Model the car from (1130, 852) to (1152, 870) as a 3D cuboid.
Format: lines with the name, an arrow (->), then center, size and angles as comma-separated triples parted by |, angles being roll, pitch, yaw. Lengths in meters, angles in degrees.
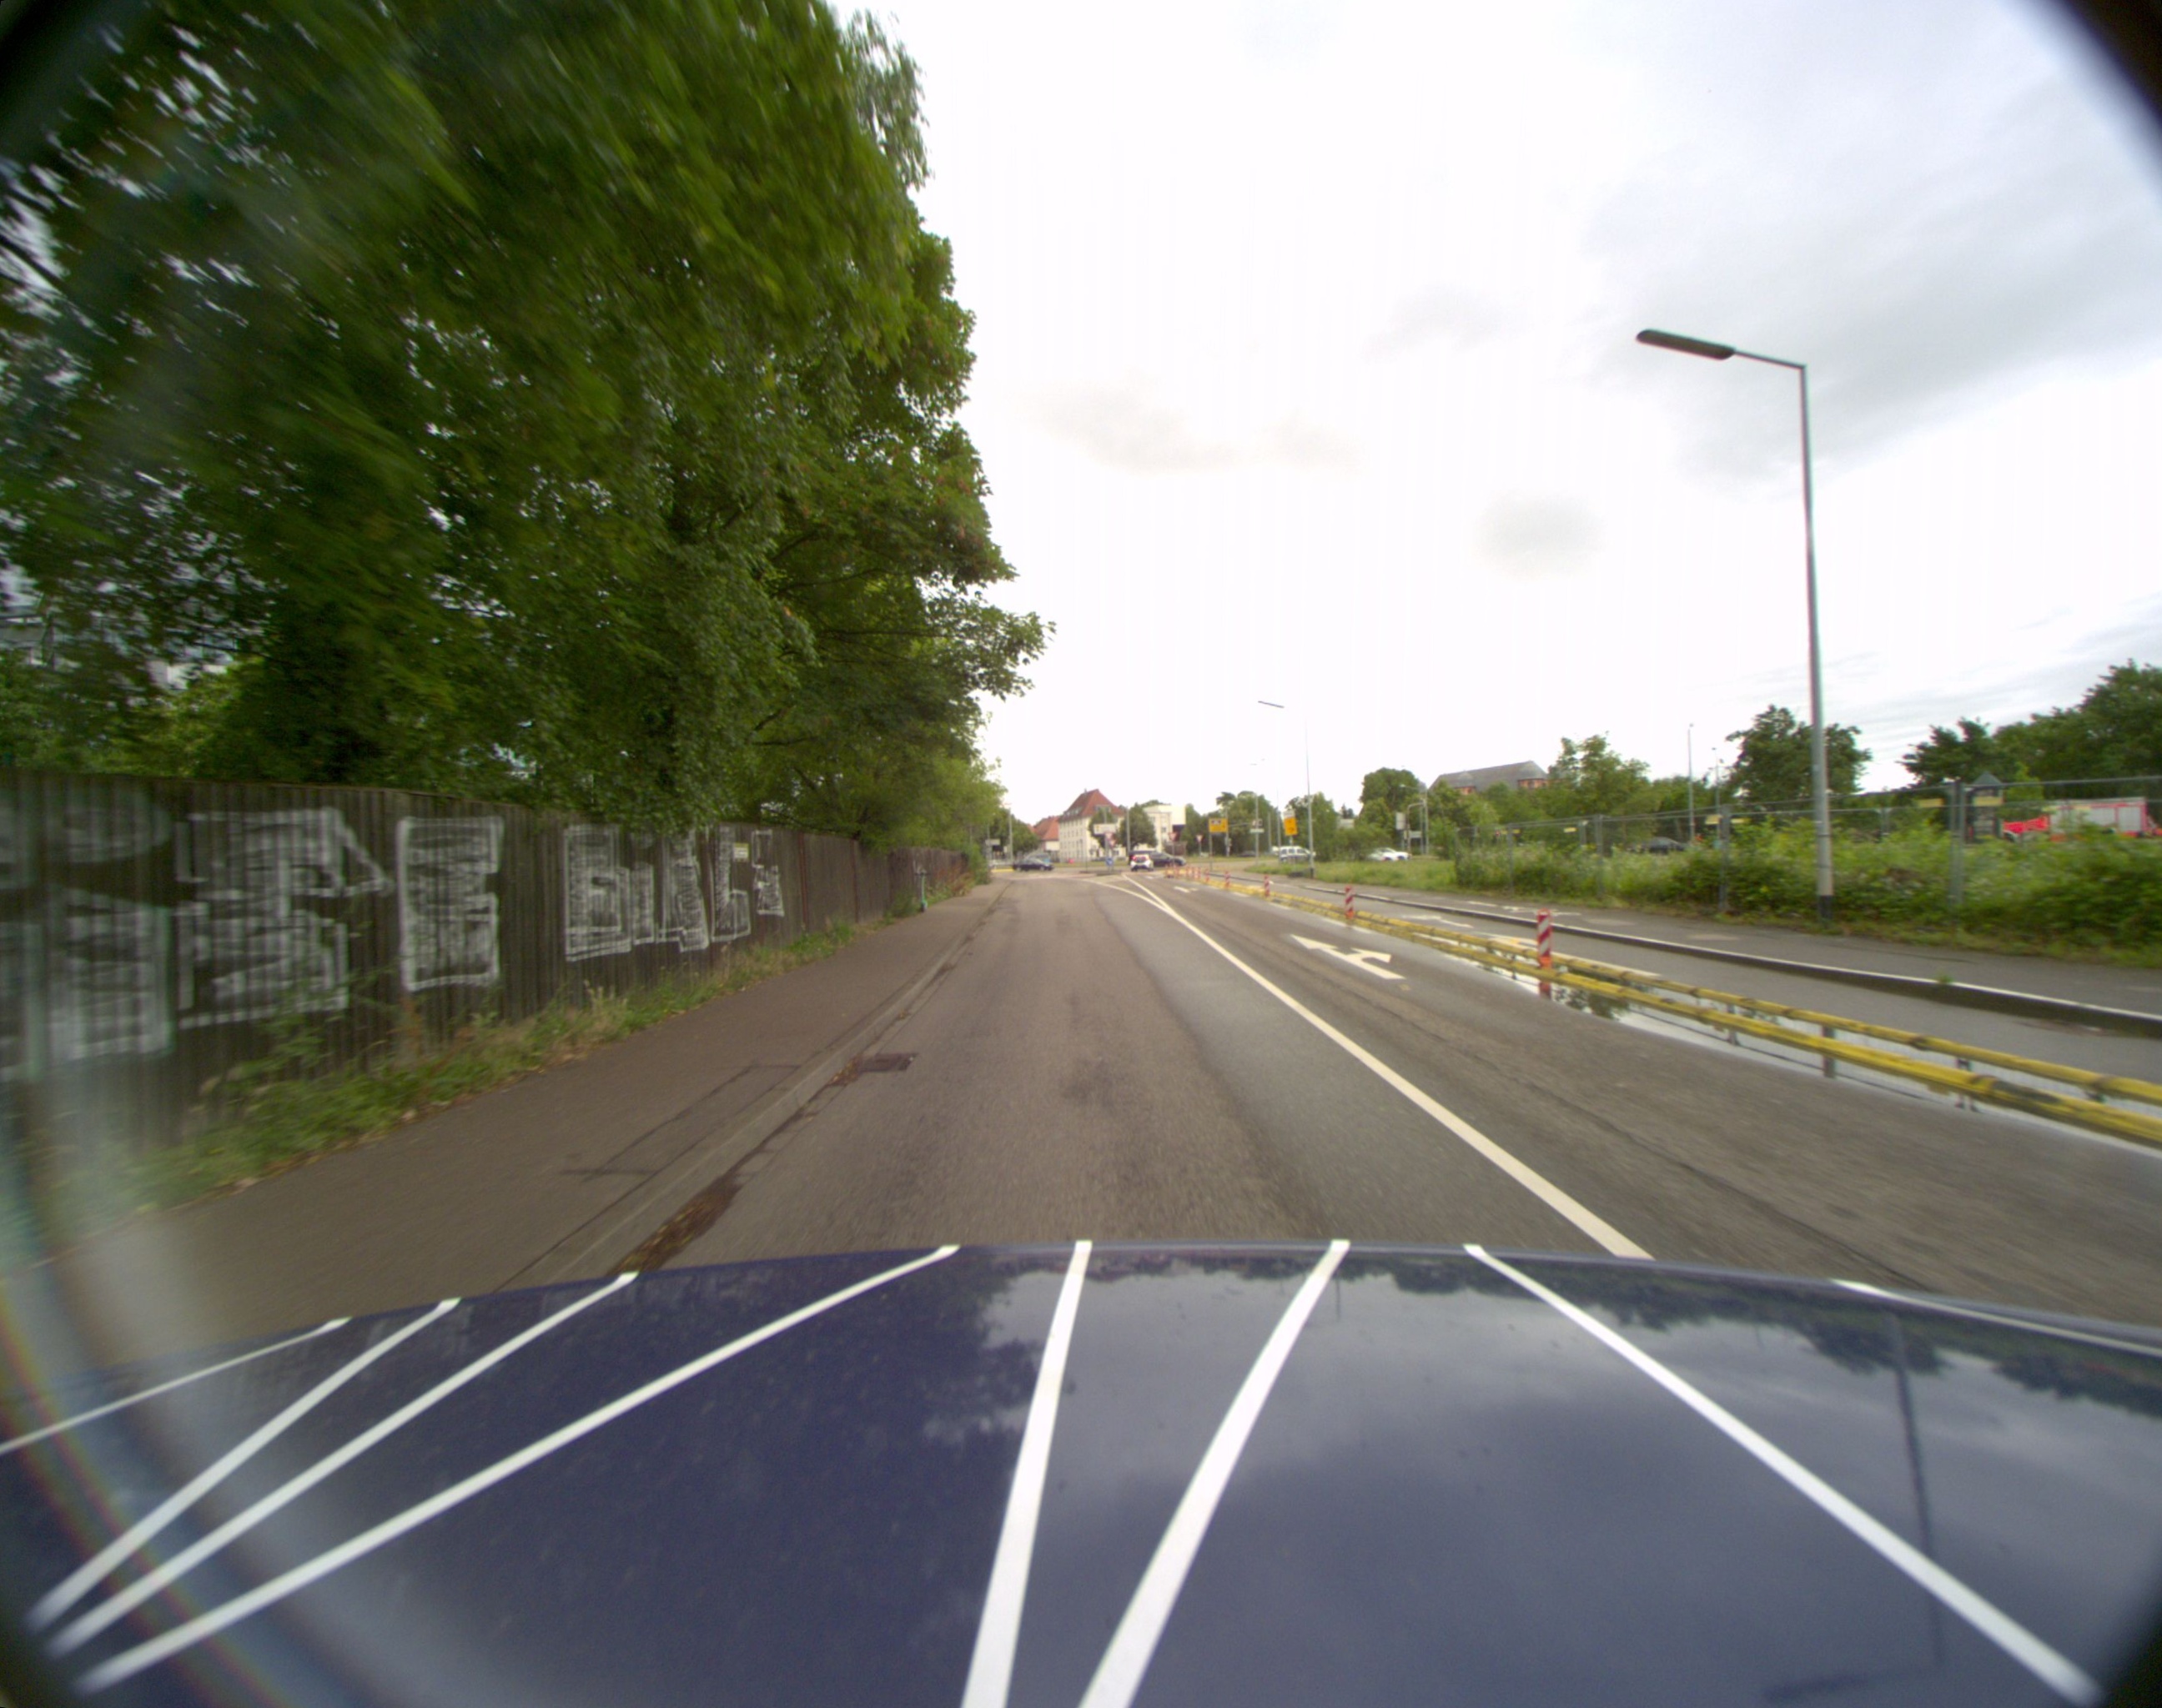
car -> 5.520, 0.615, 69.799 | 1.755, 1.578, 3.901 | 0, 0, 1

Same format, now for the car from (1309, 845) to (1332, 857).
car -> 31.488, -0.401, 99.778 | 1.916, 1.446, 4.484 | -2, 0, 31

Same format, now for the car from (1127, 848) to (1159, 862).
car -> 11.672, 0.161, 143.056 | 5.600, 2.527, 2.242 | -2, 0, 11

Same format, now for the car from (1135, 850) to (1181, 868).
car -> 7.797, 0.478, 76.691 | 4.469, 1.557, 1.923 | -2, 0, 10

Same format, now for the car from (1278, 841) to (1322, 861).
car -> 23.529, -0.313, 81.769 | 4.477, 1.892, 1.924 | -2, 0, 16

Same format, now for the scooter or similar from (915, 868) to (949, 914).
scooter or similar -> -4.479, 1.090, 22.987 | 0.693, 1.304, 2.352 | -2, -1, -5

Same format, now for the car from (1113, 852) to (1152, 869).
car -> 5.698, 0.719, 84.050 | 4.006, 1.705, 1.932 | -2, 0, 16

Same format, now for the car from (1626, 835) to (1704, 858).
car -> 46.807, -0.595, 61.035 | 4.739, 1.658, 1.925 | -2, 0, 30

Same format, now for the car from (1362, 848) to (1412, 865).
car -> 30.140, 0.244, 75.024 | 4.466, 1.449, 1.924 | -2, 0, 21

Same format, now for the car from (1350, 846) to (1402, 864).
car -> 27.649, 0.098, 71.419 | 4.423, 1.449, 1.835 | -2, 0, 19

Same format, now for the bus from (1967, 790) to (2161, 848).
bus -> 71.005, -2.405, 55.094 | 8.375, 3.626, 2.740 | -2, -1, 42

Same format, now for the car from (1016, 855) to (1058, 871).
car -> -4.911, 0.994, 84.869 | 4.353, 1.608, 2.002 | -2, -1, 9
